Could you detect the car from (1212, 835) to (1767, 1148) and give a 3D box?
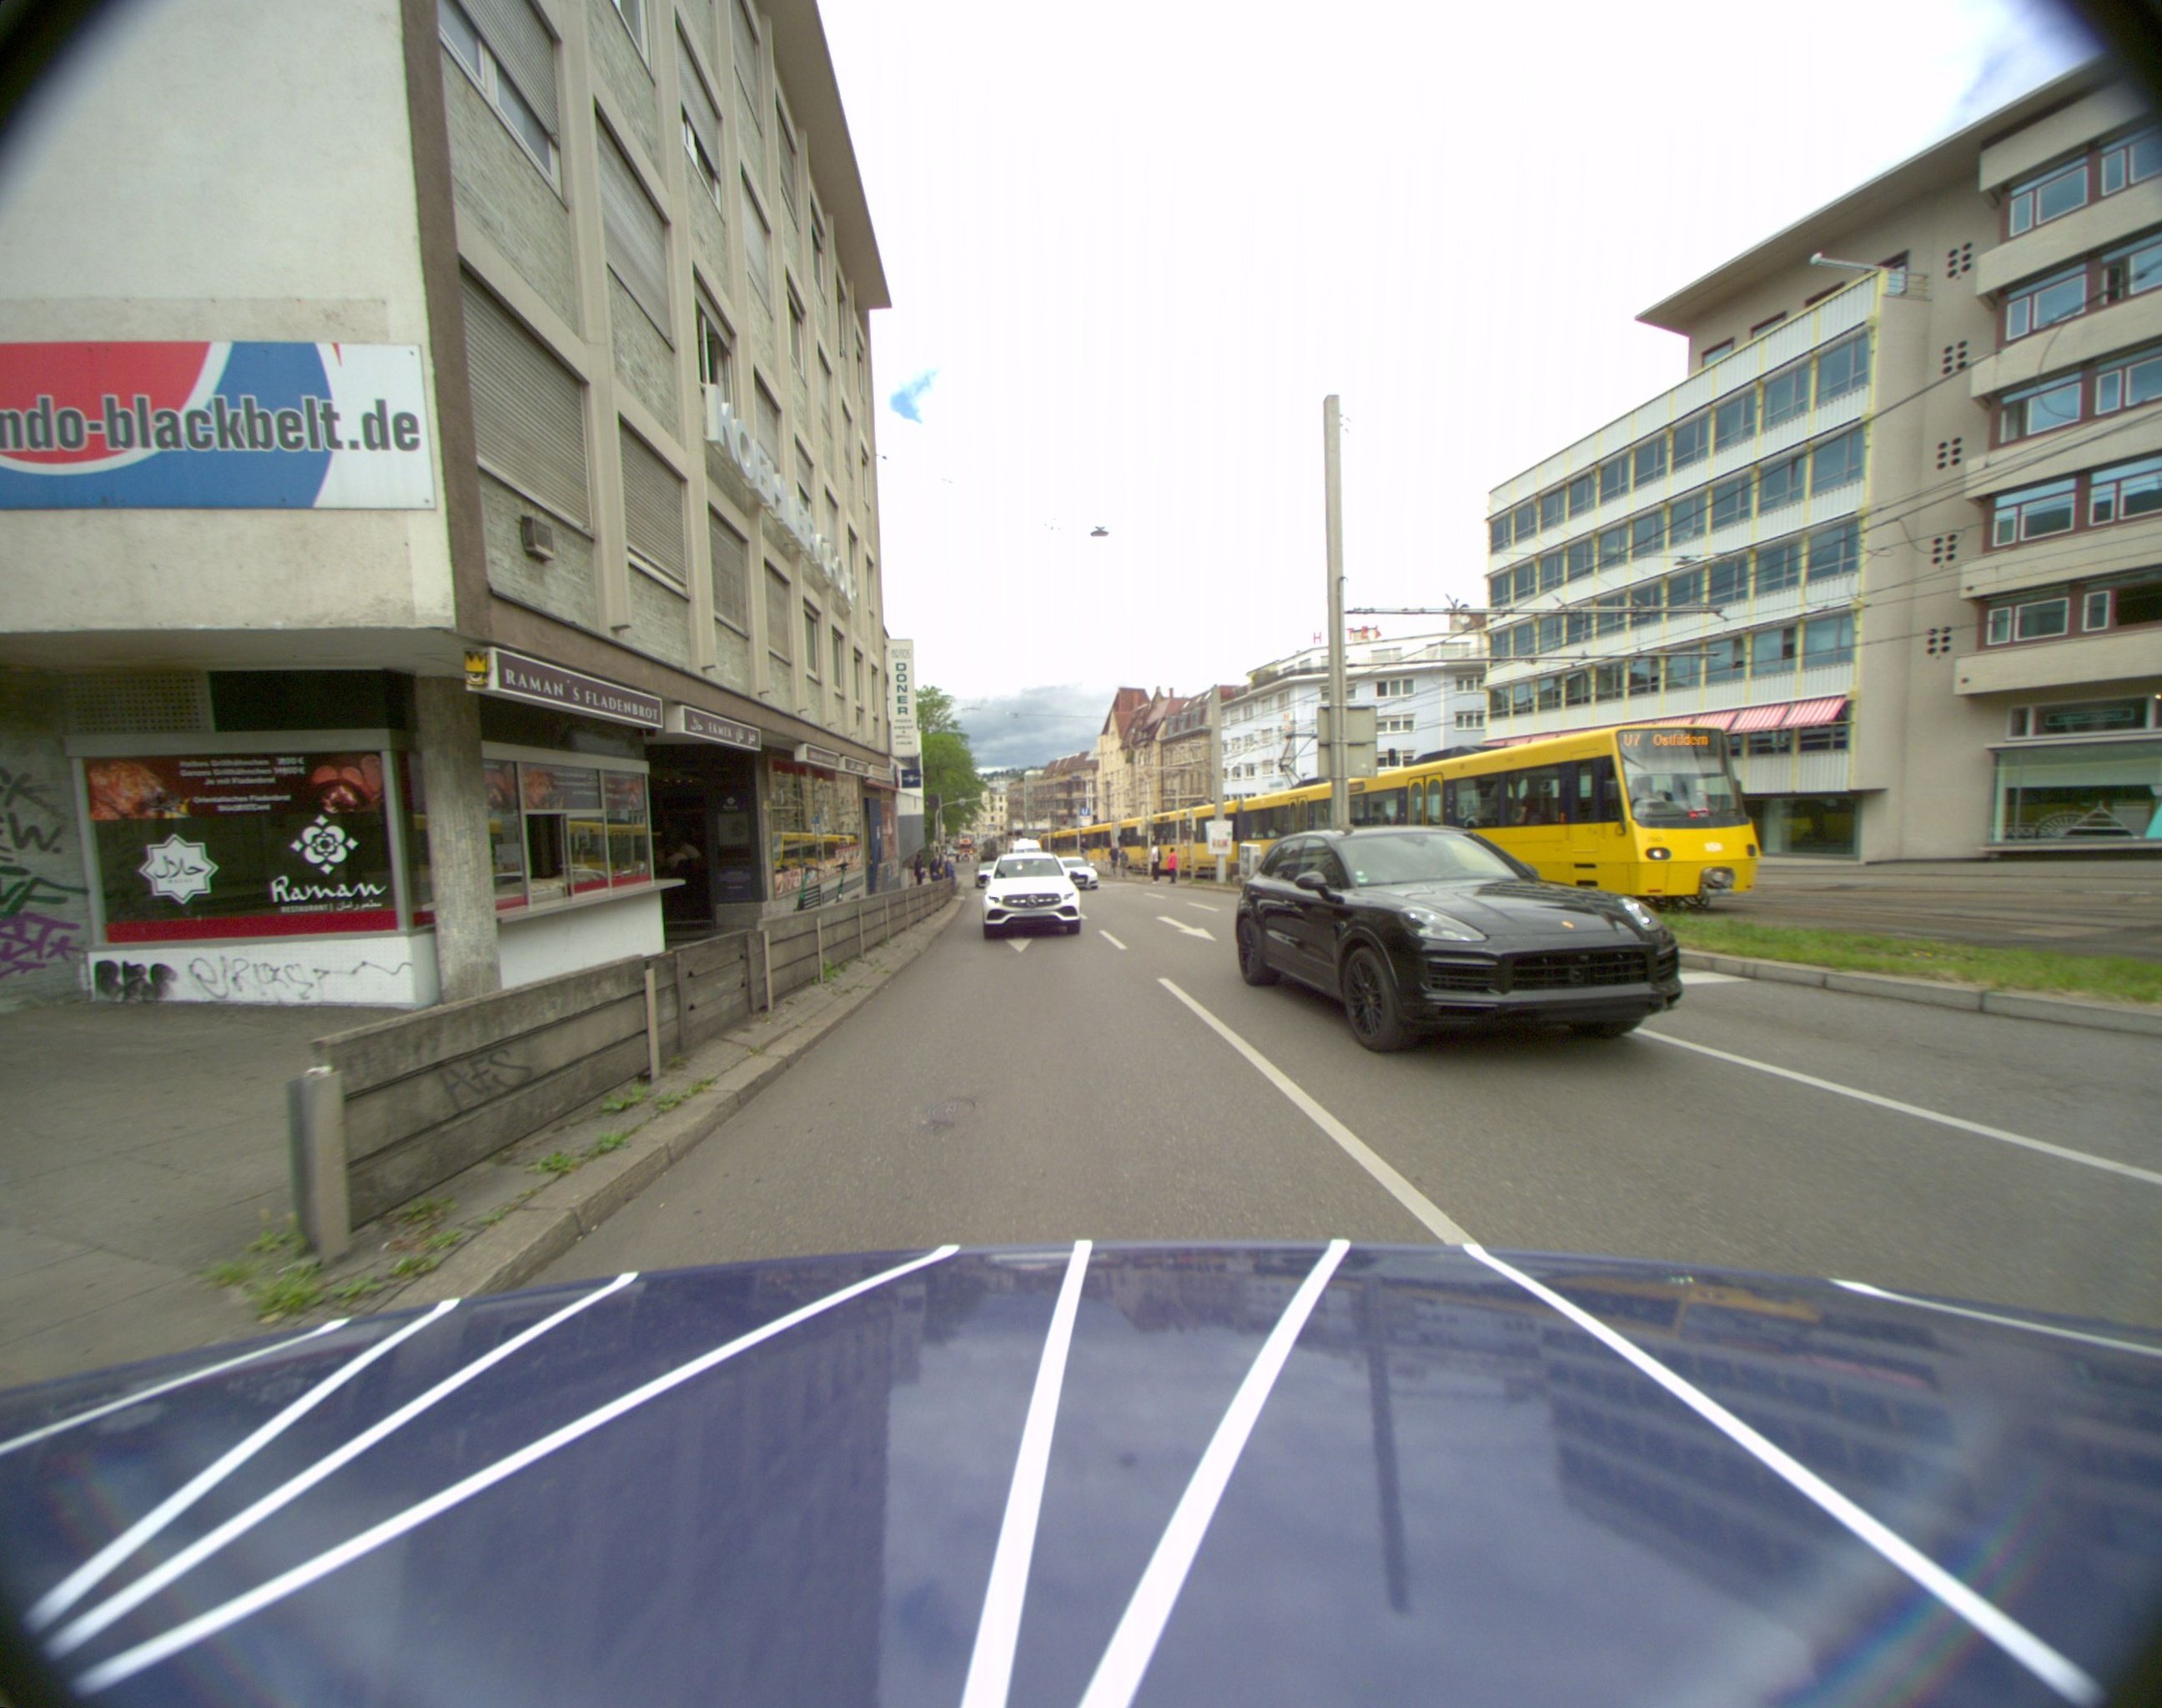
[{"bbox_3d":[2.805,0.760,6.764,2.033,1.675,4.779,-3,1,-5],"label":"car"}]

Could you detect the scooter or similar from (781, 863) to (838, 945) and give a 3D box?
[{"bbox_3d":[-5.156,0.927,14.503,0.670,1.467,1.178,-2,1,-4],"label":"scooter or similar"}]

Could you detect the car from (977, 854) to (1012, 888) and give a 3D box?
[{"bbox_3d":[-4.981,0.916,43.406,1.670,1.522,3.995,-5,3,-9],"label":"car"}]

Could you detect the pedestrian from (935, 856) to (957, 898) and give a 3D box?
[{"bbox_3d":[-5.904,1.002,33.275,0.740,1.783,0.654,-6,1,-7],"label":"pedestrian"}]

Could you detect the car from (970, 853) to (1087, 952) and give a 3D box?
[{"bbox_3d":[-0.923,0.881,16.144,1.934,1.622,4.773,-3,1,2],"label":"car"}]

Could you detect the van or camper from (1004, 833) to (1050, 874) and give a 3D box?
[{"bbox_3d":[-3.822,-0.054,52.491,2.210,2.544,6.366,-4,1,-12],"label":"van or camper"}]

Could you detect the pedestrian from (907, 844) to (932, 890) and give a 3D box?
[{"bbox_3d":[-6.535,0.519,30.755,0.729,1.798,0.653,-7,1,-6],"label":"pedestrian"}]

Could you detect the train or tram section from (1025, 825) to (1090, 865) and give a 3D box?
[{"bbox_3d":[-2.613,-0.830,75.821,2.892,3.422,14.210,-5,1,-15],"label":"train or tram section"}]

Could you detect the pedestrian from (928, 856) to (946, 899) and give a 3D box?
[{"bbox_3d":[-5.638,0.918,29.710,0.563,1.642,0.590,3,0,-8],"label":"pedestrian"}]

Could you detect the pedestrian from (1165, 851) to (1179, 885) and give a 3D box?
[{"bbox_3d":[3.987,0.603,33.153,0.577,1.456,0.676,0,4,8],"label":"pedestrian"}]

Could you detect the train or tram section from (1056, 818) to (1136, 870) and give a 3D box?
[{"bbox_3d":[0.896,-0.805,61.529,2.933,3.539,14.211,-4,2,-13],"label":"train or tram section"}]

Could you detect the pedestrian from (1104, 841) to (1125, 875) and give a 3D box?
[{"bbox_3d":[1.979,0.223,44.762,0.932,1.959,1.231,-2,4,-12],"label":"pedestrian"}]

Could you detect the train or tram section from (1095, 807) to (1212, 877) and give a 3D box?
[{"bbox_3d":[4.038,-0.673,47.725,2.892,3.643,14.213,-3,1,-13],"label":"train or tram section"}]

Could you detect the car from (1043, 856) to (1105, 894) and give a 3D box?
[{"bbox_3d":[-0.378,0.884,34.019,1.898,1.467,4.526,-3,1,-11],"label":"car"}]

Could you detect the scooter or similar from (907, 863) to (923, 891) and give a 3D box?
[{"bbox_3d":[-7.871,1.096,36.070,0.428,1.268,0.980,-2,0,3],"label":"scooter or similar"}]

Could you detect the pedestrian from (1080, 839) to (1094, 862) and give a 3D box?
[{"bbox_3d":[0.388,-0.257,52.427,0.781,1.575,0.664,-2,1,-12],"label":"pedestrian"}]

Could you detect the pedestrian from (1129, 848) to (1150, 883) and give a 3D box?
[{"bbox_3d":[2.786,0.555,36.252,0.678,1.616,1.000,-2,1,-12],"label":"pedestrian"}]

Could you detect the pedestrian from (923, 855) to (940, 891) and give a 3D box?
[{"bbox_3d":[-7.667,0.943,38.955,0.723,1.775,0.882,-4,2,-10],"label":"pedestrian"}]

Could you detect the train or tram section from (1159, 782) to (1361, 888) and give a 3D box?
[{"bbox_3d":[7.103,-0.702,33.914,2.891,3.643,14.213,-3,1,-12],"label":"train or tram section"}]

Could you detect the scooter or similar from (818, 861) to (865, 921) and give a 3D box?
[{"bbox_3d":[-5.242,0.787,16.702,0.632,1.242,1.332,-2,1,-4],"label":"scooter or similar"}]

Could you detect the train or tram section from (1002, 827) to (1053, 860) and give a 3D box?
[{"bbox_3d":[-6.521,-1.073,89.401,2.892,3.399,14.210,-5,1,-16],"label":"train or tram section"}]

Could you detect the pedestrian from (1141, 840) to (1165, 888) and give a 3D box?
[{"bbox_3d":[3.268,0.430,34.376,0.967,2.056,1.032,-1,4,8],"label":"pedestrian"}]

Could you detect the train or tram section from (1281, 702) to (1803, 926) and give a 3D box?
[{"bbox_3d":[9.697,-0.738,19.864,2.891,3.643,14.462,-3,1,-9],"label":"train or tram section"}]

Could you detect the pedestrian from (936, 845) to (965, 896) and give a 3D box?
[{"bbox_3d":[-5.490,0.699,32.006,0.949,2.050,0.778,5,0,-7],"label":"pedestrian"}]

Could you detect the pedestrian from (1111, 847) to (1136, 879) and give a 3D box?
[{"bbox_3d":[2.386,0.487,42.707,1.120,1.672,1.039,-2,6,-12],"label":"pedestrian"}]
